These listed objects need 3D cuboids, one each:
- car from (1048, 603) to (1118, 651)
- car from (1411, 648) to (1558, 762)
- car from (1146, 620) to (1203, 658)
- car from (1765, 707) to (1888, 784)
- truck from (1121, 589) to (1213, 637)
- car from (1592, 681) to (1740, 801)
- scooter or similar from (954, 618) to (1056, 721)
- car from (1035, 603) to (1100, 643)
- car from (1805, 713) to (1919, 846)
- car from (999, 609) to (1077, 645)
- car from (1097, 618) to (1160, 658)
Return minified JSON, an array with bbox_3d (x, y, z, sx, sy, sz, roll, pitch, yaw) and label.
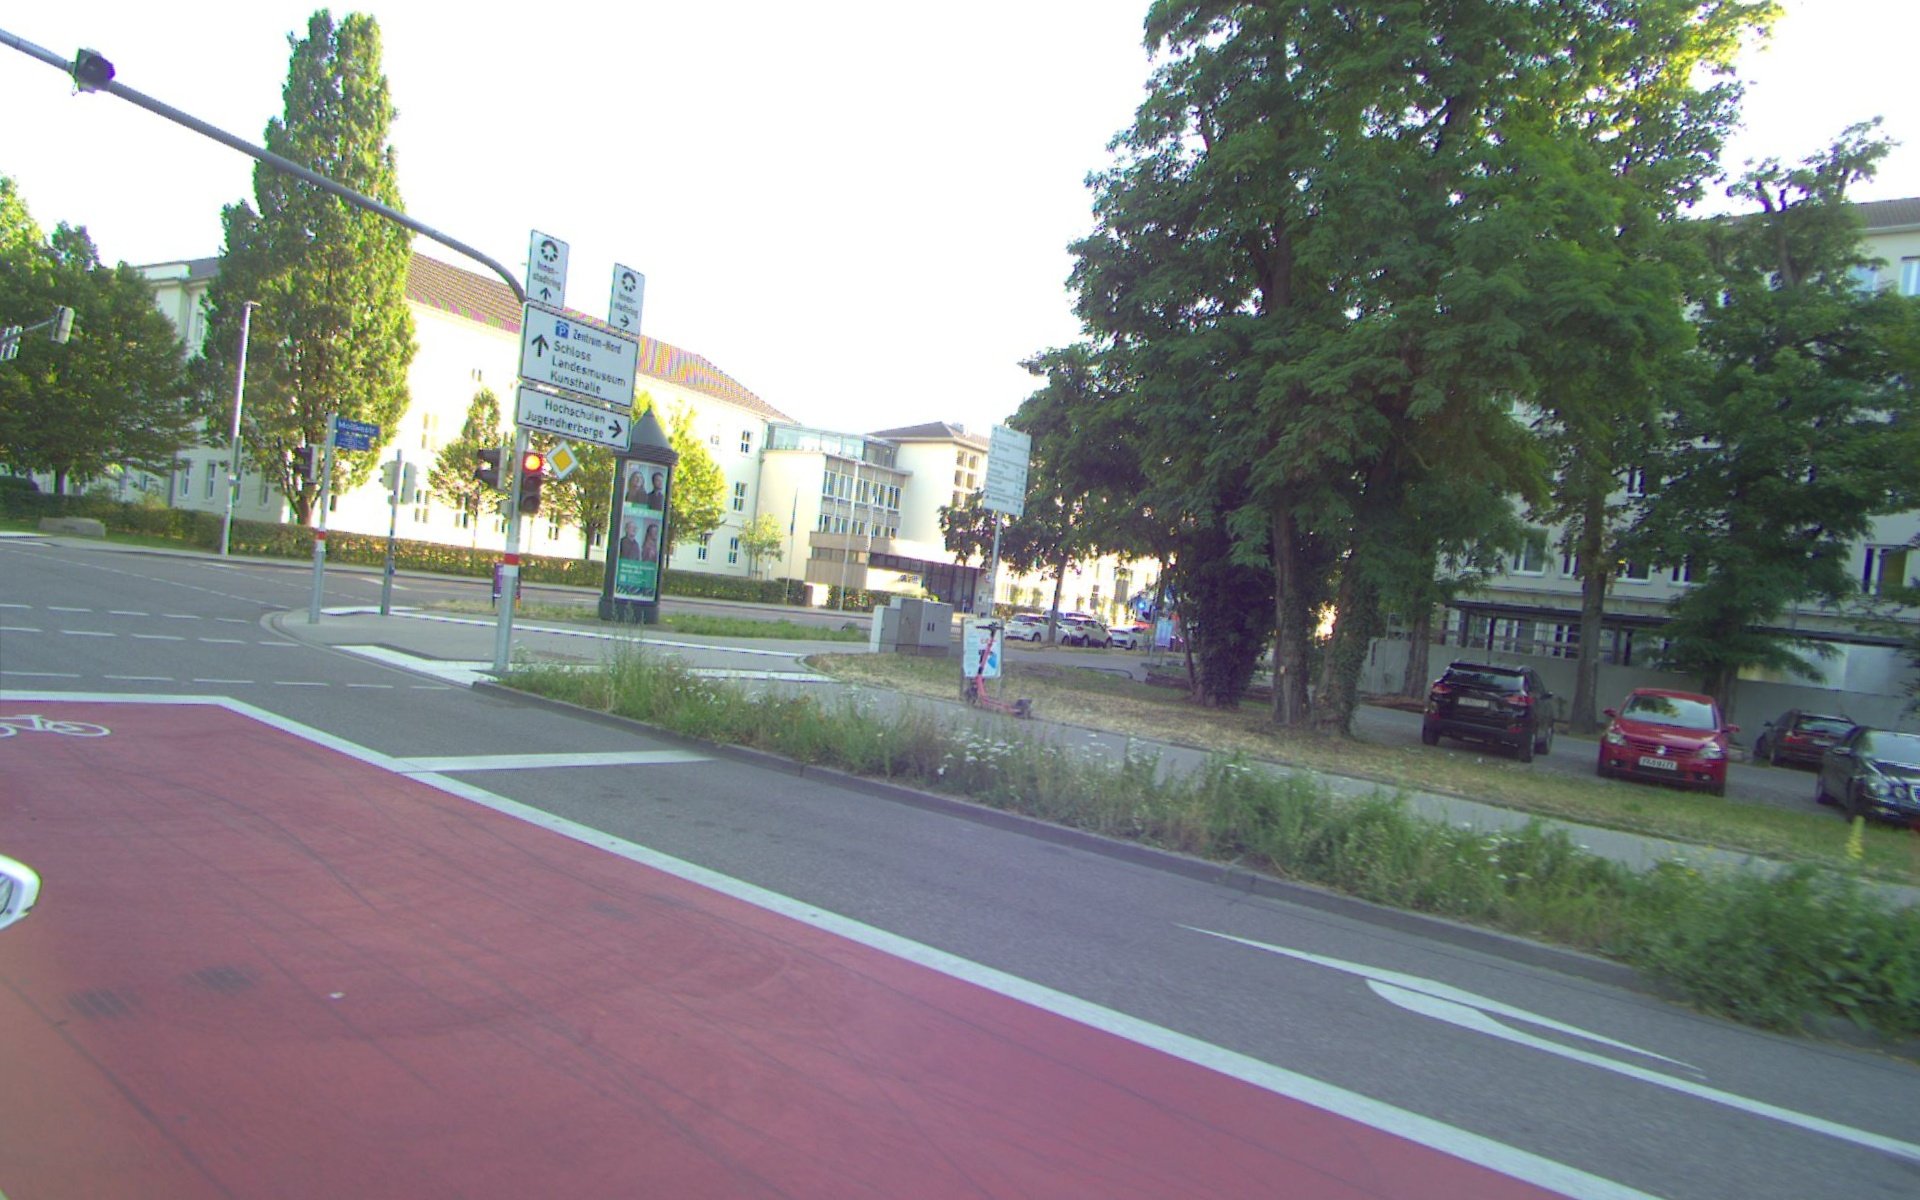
[{"bbox_3d":[6.438,1.447,52.277,1.713,2.038,3.988,7,-1,36],"label":"car"},{"bbox_3d":[10.054,1.978,19.144,1.808,1.714,3.899,7,-1,36],"label":"car"},{"bbox_3d":[12.995,2.403,60.802,1.698,1.879,3.989,7,-1,36],"label":"car"},{"bbox_3d":[21.474,3.562,25.084,1.873,1.459,3.988,7,-1,37],"label":"car"},{"bbox_3d":[14.276,0.980,68.534,2.327,2.315,10.050,7,-1,34],"label":"truck"},{"bbox_3d":[12.314,2.339,17.446,1.759,1.580,3.984,7,0,38],"label":"car"},{"bbox_3d":[0.611,0.943,13.910,1.289,1.247,0.311,7,1,32],"label":"scooter or similar"},{"bbox_3d":[6.049,1.319,56.297,1.720,1.783,3.989,7,-1,35],"label":"car"},{"bbox_3d":[14.457,2.690,15.300,1.871,1.467,4.568,5,1,34],"label":"car"},{"bbox_3d":[3.843,1.337,48.803,1.793,1.358,3.985,7,0,37],"label":"car"},{"bbox_3d":[9.452,2.153,56.187,1.720,1.783,3.989,7,-1,35],"label":"car"}]
